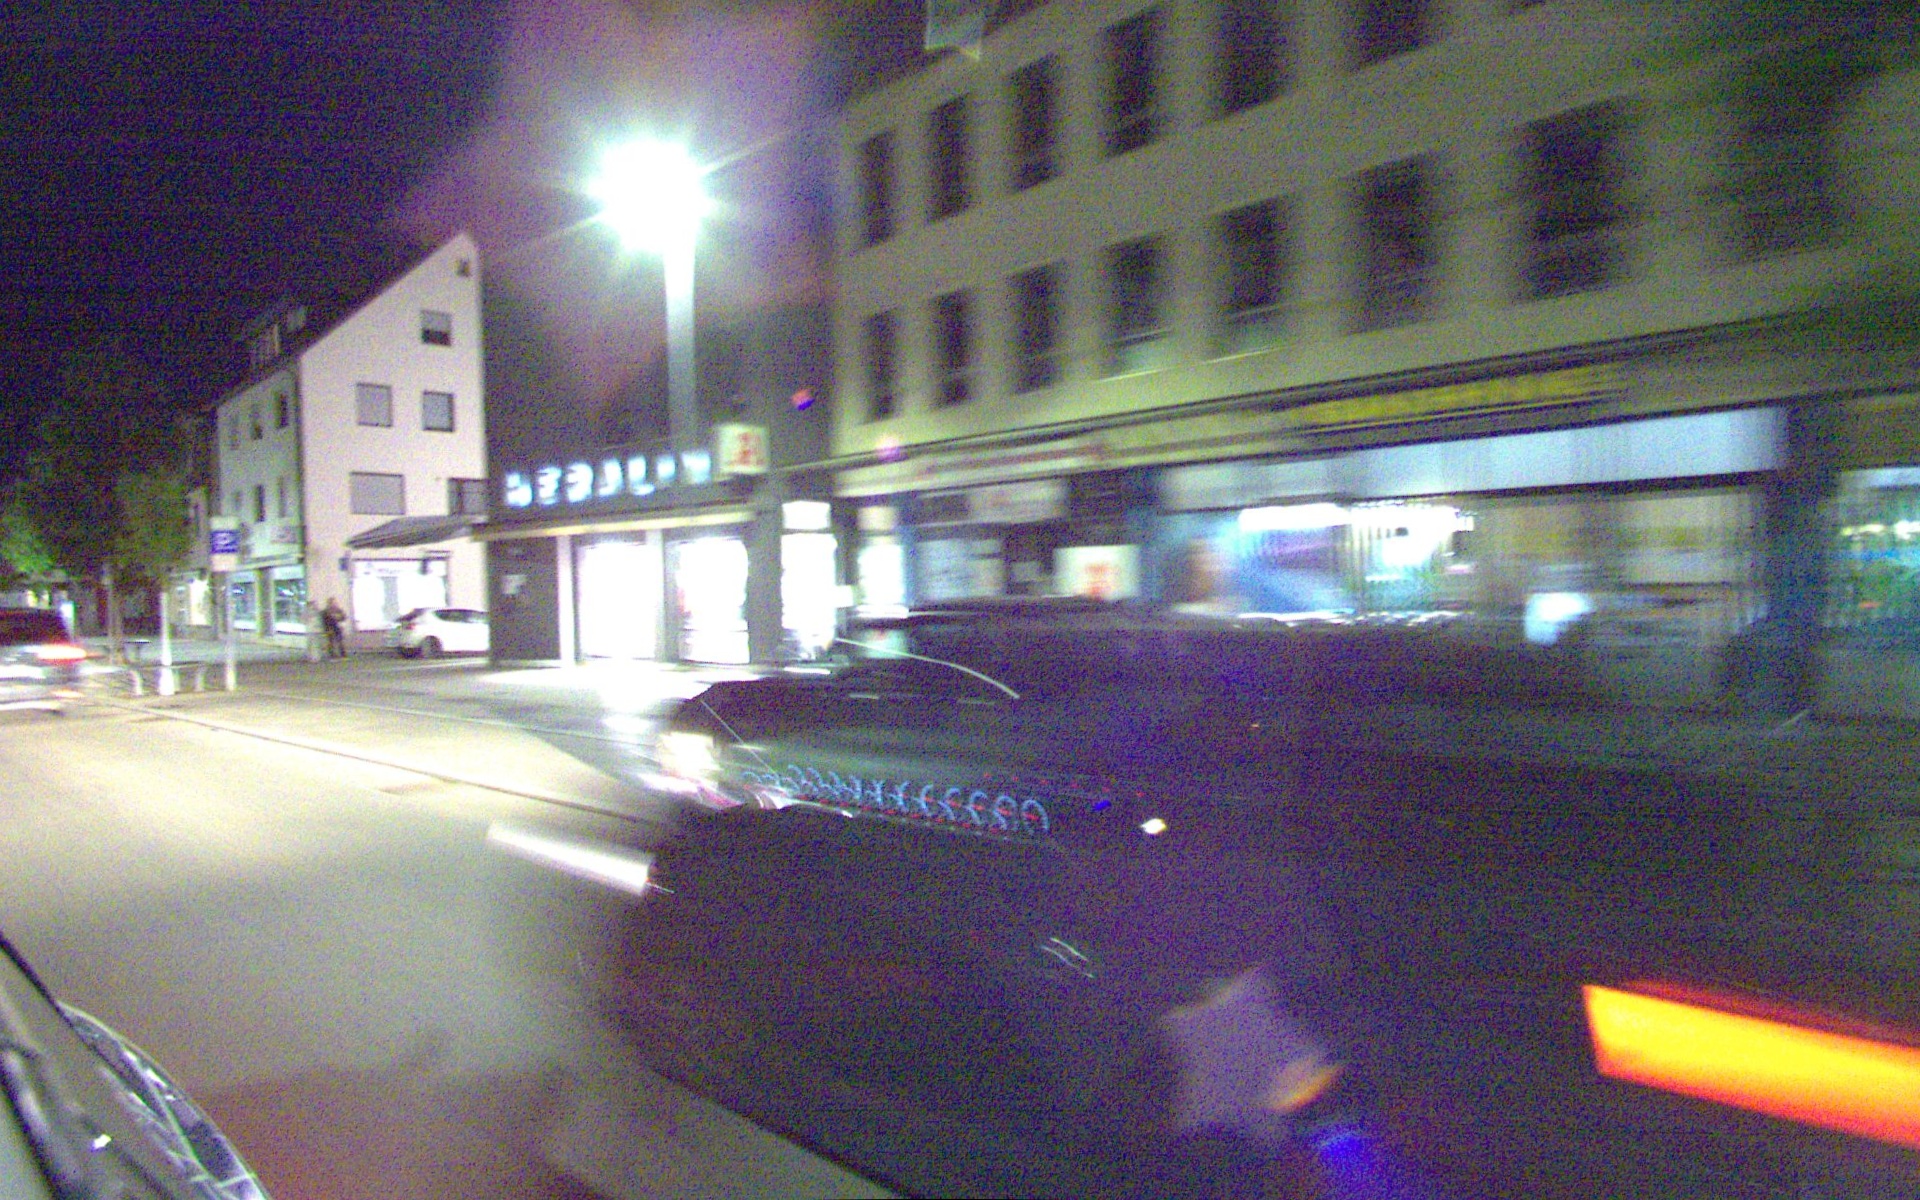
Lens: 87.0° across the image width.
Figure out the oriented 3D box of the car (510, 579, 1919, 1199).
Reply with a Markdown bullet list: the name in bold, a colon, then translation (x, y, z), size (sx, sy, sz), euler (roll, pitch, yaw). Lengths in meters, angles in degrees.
- **car**: translation (0.579, 0.718, 2.578), size (3.813, 1.439, 1.699), euler (-2, -1, 41)

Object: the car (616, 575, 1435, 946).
- **car**: translation (0.052, 0.663, 6.298), size (4.927, 1.430, 1.877), euler (-2, 1, 41)

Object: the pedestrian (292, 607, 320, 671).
- **pedestrian**: translation (-16.687, 0.986, 25.825), size (0.520, 1.600, 0.668), euler (-1, 0, -28)

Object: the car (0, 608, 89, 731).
- **car**: translation (-14.683, 0.988, 15.100), size (4.301, 1.657, 1.731), euler (-1, -1, 38)

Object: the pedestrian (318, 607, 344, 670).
- **pedestrian**: translation (-16.207, 0.977, 26.087), size (0.520, 1.600, 0.668), euler (-1, 0, -28)

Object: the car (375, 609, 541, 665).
- **car**: translation (-13.805, 0.986, 27.959), size (1.652, 1.427, 3.783), euler (-2, -1, 41)
